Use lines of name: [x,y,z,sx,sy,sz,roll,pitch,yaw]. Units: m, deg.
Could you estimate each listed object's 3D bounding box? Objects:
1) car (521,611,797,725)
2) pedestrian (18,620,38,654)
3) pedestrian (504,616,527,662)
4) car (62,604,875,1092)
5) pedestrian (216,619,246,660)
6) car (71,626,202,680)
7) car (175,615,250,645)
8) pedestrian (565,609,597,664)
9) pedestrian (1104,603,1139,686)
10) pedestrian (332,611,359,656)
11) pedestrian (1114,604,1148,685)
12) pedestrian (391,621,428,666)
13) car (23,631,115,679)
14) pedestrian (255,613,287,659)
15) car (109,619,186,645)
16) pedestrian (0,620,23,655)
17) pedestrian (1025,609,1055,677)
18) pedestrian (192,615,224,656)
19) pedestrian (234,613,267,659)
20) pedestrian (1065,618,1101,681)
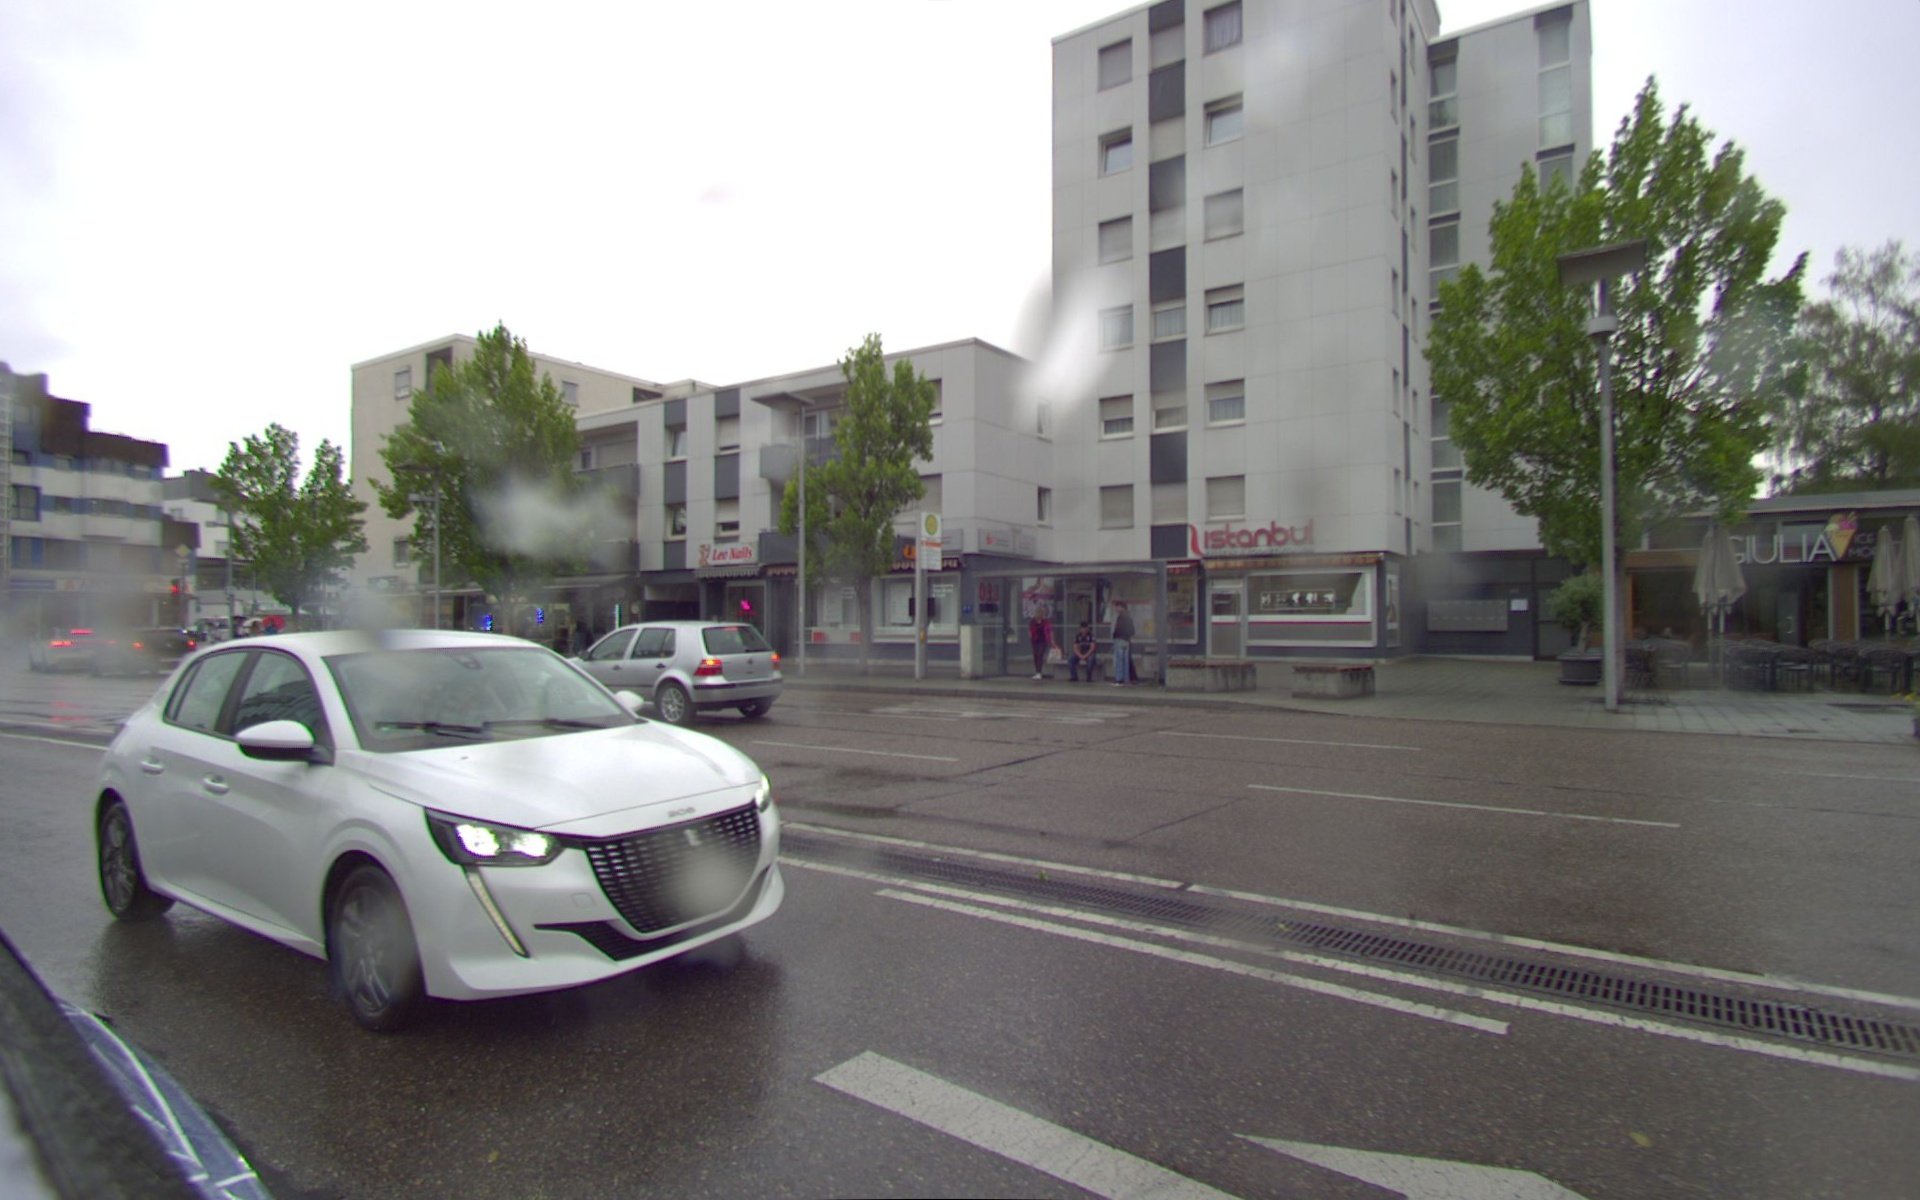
car: [-4.505,0.955,14.986,4.091,1.477,1.686,-2,-3,33]
pedestrian: [-49.146,1.950,53.371,0.672,1.756,0.586,0,-1,-31]
pedestrian: [-17.422,1.521,39.664,0.679,1.763,0.543,-2,-2,36]
car: [-2.509,0.798,4.919,3.862,1.473,1.857,-2,-1,33]
pedestrian: [-34.900,1.896,48.455,0.975,1.929,0.896,-2,-2,33]
car: [-23.919,1.541,29.374,3.986,1.438,1.744,-2,-2,31]
car: [-52.510,2.120,71.191,1.971,2.029,4.599,-1,-1,-1]
pedestrian: [-13.983,1.343,37.320,0.862,2.029,0.751,-2,-2,36]
pedestrian: [3.315,0.910,20.799,0.535,1.672,0.474,-2,-2,35]
pedestrian: [-27.904,1.524,45.975,0.861,2.029,0.752,-2,-2,32]
pedestrian: [3.594,0.919,21.269,0.479,1.672,0.529,-2,-2,40]
pedestrian: [-20.645,1.617,37.966,0.724,1.658,0.999,-2,-1,33]
car: [-29.590,1.777,33.562,4.886,1.438,1.739,-2,-1,42]
pedestrian: [-31.163,1.629,45.792,0.975,2.029,0.896,-2,-2,33]
car: [-56.324,2.192,70.241,1.731,1.733,3.876,-1,-1,15]
pedestrian: [-48.631,1.895,51.857,0.584,1.756,0.828,-1,-1,39]
pedestrian: [1.799,0.960,22.817,0.609,1.516,0.535,-1,-1,11]
pedestrian: [-35.411,1.679,47.653,0.975,1.929,0.896,-2,-2,33]
pedestrian: [-31.482,1.597,44.905,0.975,2.029,0.896,-2,-2,33]
pedestrian: [2.699,1.073,22.146,0.578,1.363,0.529,-2,-2,40]
